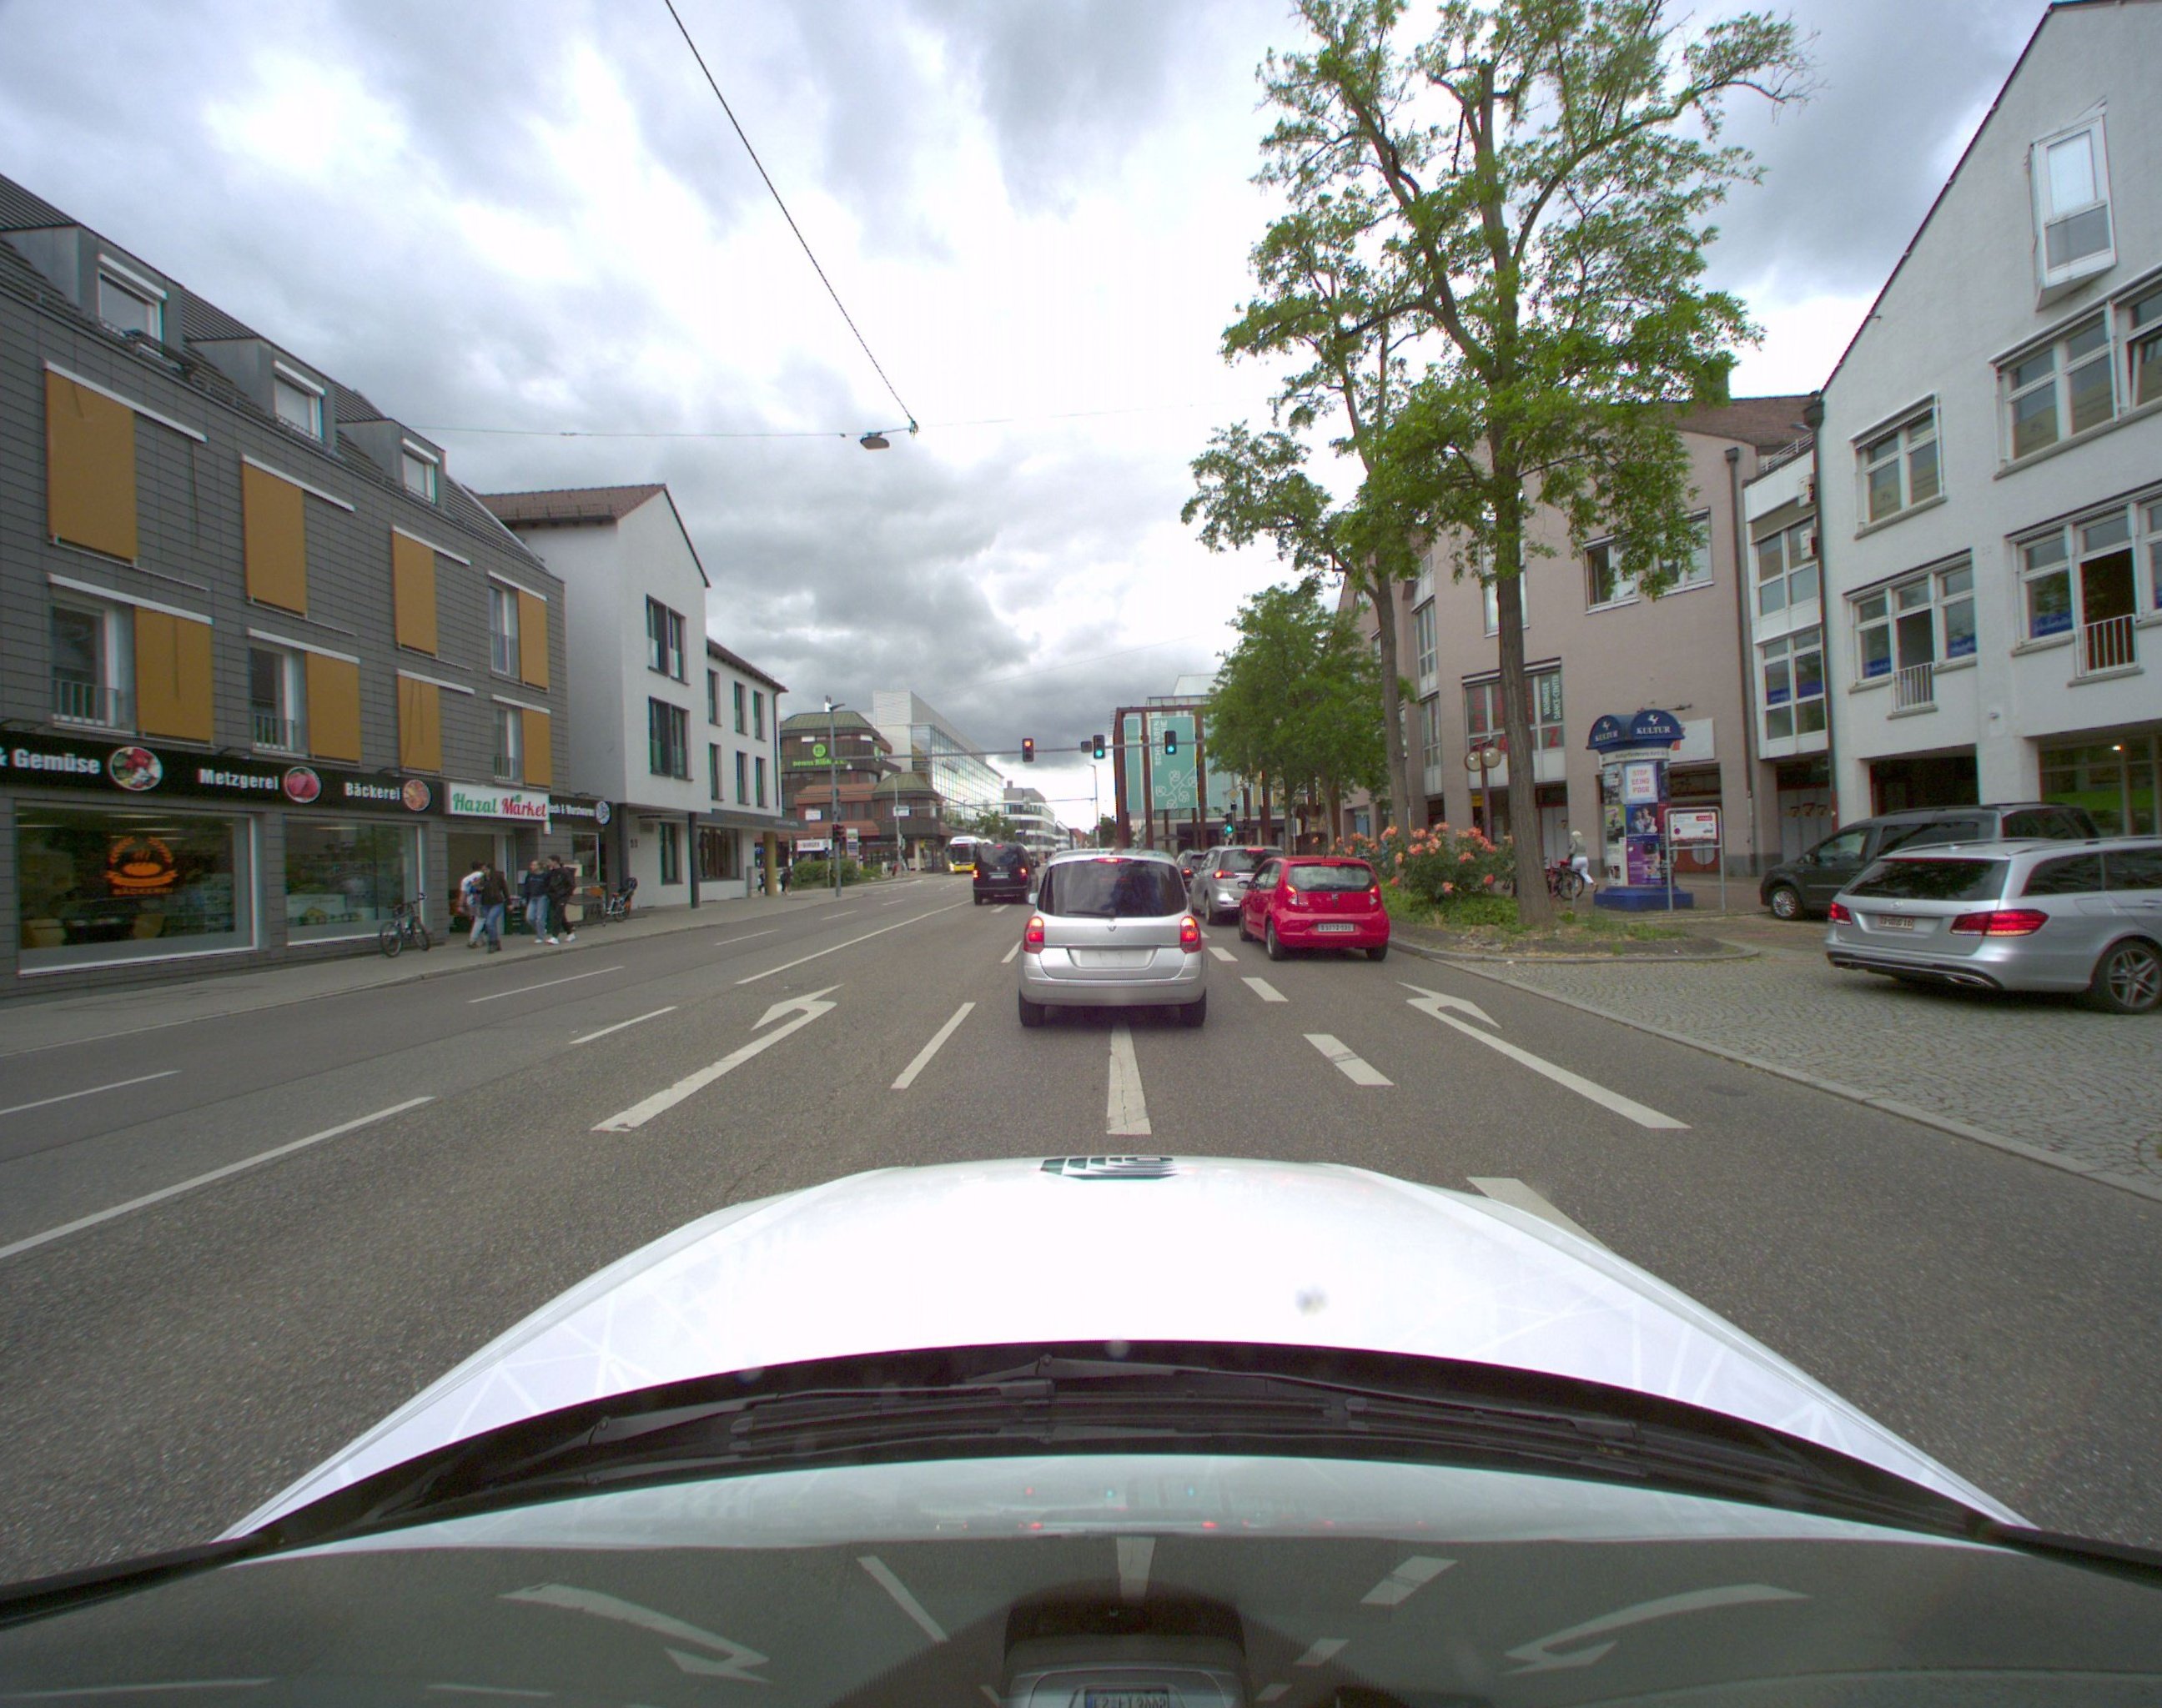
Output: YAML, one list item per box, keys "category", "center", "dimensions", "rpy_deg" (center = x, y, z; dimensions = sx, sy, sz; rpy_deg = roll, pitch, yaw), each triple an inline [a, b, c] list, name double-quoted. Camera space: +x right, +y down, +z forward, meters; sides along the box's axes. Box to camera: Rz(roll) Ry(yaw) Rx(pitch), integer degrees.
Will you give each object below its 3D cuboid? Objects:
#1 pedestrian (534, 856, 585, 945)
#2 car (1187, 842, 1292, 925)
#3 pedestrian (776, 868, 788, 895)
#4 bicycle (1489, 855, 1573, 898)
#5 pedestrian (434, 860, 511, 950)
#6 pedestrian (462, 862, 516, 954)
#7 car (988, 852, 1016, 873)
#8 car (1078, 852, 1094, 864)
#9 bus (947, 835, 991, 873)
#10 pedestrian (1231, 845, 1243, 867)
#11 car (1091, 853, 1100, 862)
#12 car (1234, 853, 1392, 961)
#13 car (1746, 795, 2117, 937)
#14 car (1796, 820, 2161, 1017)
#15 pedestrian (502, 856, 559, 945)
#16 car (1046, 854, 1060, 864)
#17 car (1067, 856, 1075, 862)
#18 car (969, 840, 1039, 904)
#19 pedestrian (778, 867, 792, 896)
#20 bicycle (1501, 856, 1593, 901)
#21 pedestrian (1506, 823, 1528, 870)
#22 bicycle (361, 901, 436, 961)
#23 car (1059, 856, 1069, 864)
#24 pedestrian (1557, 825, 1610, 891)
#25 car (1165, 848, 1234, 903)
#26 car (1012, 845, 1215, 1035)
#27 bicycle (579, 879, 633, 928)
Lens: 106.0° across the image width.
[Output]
- category: "pedestrian"
  center: [-10.686, 0.939, 16.709]
  dimensions: [0.567, 1.775, 0.646]
  rpy_deg: [-2, 0, -2]
- category: "car"
  center: [3.377, 0.580, 18.037]
  dimensions: [1.581, 1.634, 3.916]
  rpy_deg: [0, 0, 0]
- category: "pedestrian"
  center: [-18.615, 1.707, 50.705]
  dimensions: [0.664, 1.649, 0.788]
  rpy_deg: [-2, 0, -20]
- category: "bicycle"
  center: [11.194, 0.555, 20.281]
  dimensions: [1.760, 0.997, 0.447]
  rpy_deg: [-2, 0, 5]
- category: "pedestrian"
  center: [-12.044, 0.982, 16.154]
  dimensions: [0.751, 1.705, 0.981]
  rpy_deg: [1, 0, 1]
- category: "pedestrian"
  center: [-10.983, 0.980, 15.131]
  dimensions: [0.654, 1.650, 0.555]
  rpy_deg: [-2, 0, -22]
- category: "car"
  center: [-7.000, 0.737, 72.096]
  dimensions: [1.987, 1.706, 4.065]
  rpy_deg: [-2, 0, 0]
- category: "car"
  center: [0.793, 0.529, 119.437]
  dimensions: [1.907, 1.677, 4.249]
  rpy_deg: [-2, 0, 6]
- category: "bus"
  center: [-10.204, 0.002, 75.171]
  dimensions: [2.678, 3.261, 8.653]
  rpy_deg: [-2, 0, 1]
- category: "pedestrian"
  center: [11.627, 0.159, 60.625]
  dimensions: [0.652, 1.650, 0.557]
  rpy_deg: [-2, 0, -13]
- category: "car"
  center: [3.307, 0.859, 188.422]
  dimensions: [1.987, 1.949, 4.951]
  rpy_deg: [-2, 0, 1]
- category: "car"
  center: [3.430, 0.708, 12.606]
  dimensions: [1.581, 1.443, 3.349]
  rpy_deg: [0, 0, 2]
- category: "car"
  center: [13.162, 0.151, 13.020]
  dimensions: [1.633, 1.831, 3.963]
  rpy_deg: [-3, 0, -3]
- category: "car"
  center: [9.842, 0.500, 7.916]
  dimensions: [4.347, 1.448, 1.818]
  rpy_deg: [-4, 1, -5]
- category: "pedestrian"
  center: [-11.355, 0.941, 16.814]
  dimensions: [0.679, 1.790, 0.649]
  rpy_deg: [-2, 0, 1]
- category: "car"
  center: [-4.401, 0.813, 128.133]
  dimensions: [1.793, 1.540, 4.068]
  rpy_deg: [-2, 0, 3]
- category: "car"
  center: [-2.545, 1.191, 204.720]
  dimensions: [1.793, 1.540, 4.068]
  rpy_deg: [-2, 0, 3]
- category: "car"
  center: [-2.385, 0.533, 26.229]
  dimensions: [1.738, 1.855, 4.634]
  rpy_deg: [-1, 0, 1]
- category: "pedestrian"
  center: [-17.723, 1.649, 48.801]
  dimensions: [0.705, 1.658, 0.934]
  rpy_deg: [-2, 0, -20]
- category: "bicycle"
  center: [11.277, 0.588, 19.724]
  dimensions: [1.892, 0.997, 0.468]
  rpy_deg: [-2, 0, 5]
- category: "pedestrian"
  center: [15.765, -0.265, 29.438]
  dimensions: [0.630, 1.677, 0.592]
  rpy_deg: [-2, 0, 30]
- category: "bicycle"
  center: [-12.661, 1.405, 15.142]
  dimensions: [0.325, 0.954, 1.478]
  rpy_deg: [-2, 0, -9]
- category: "car"
  center: [-3.676, 1.272, 174.493]
  dimensions: [1.793, 1.540, 4.068]
  rpy_deg: [-2, 0, 3]
- category: "pedestrian"
  center: [13.263, 0.114, 21.515]
  dimensions: [0.786, 1.659, 0.819]
  rpy_deg: [-4, 0, 1]
- category: "car"
  center: [3.603, 0.613, 25.254]
  dimensions: [1.581, 1.595, 3.868]
  rpy_deg: [0, 0, 0]
- category: "car"
  center: [0.309, 0.697, 8.346]
  dimensions: [1.634, 1.527, 3.395]
  rpy_deg: [-1, 0, 1]
- category: "bicycle"
  center: [-12.794, 1.302, 22.003]
  dimensions: [0.385, 1.186, 1.825]
  rpy_deg: [-2, 0, -1]
